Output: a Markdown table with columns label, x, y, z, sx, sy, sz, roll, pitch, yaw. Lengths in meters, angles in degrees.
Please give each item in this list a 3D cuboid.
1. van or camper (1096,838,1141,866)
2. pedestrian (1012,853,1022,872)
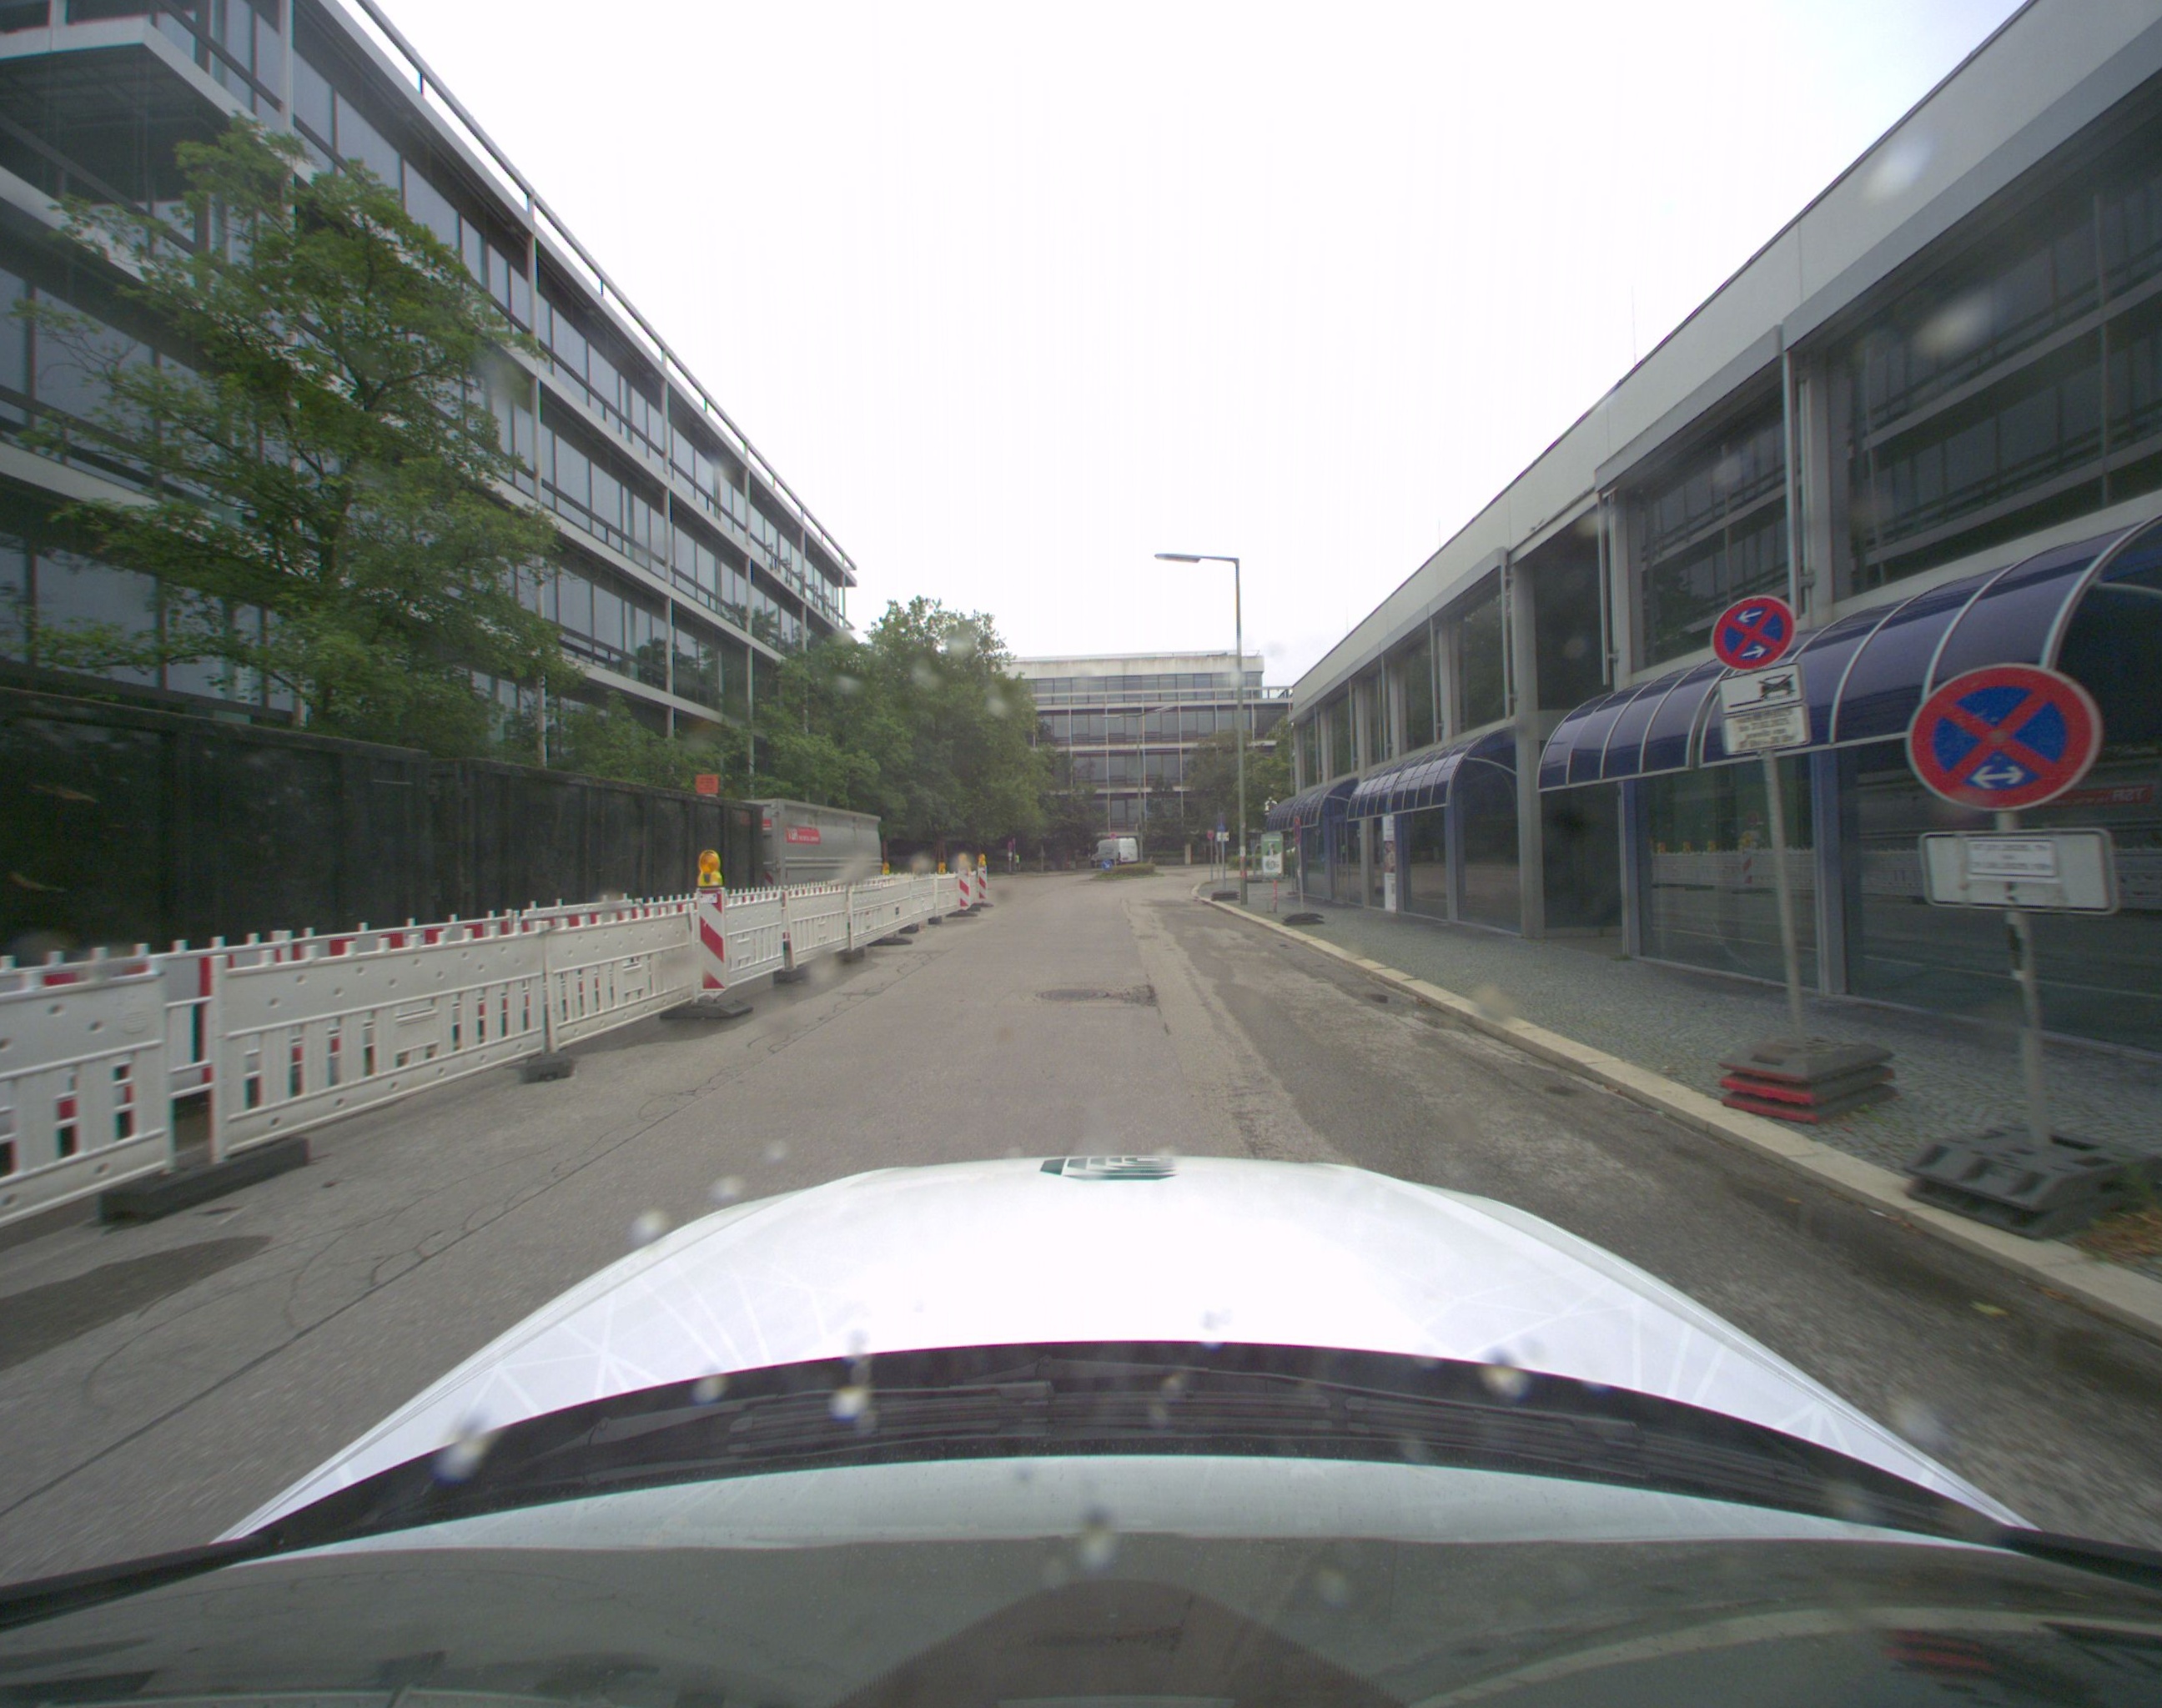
| label | x | y | z | sx | sy | sz | roll | pitch | yaw |
| --- | --- | --- | --- | --- | --- | --- | --- | --- | --- |
| van or camper | 3.383 | -0.175 | 74.726 | 2.095 | 2.492 | 5.027 | -1 | 0 | -23 |
| pedestrian | -5.821 | 0.770 | 73.634 | 0.743 | 1.677 | 0.678 | -1 | 0 | -18 |
